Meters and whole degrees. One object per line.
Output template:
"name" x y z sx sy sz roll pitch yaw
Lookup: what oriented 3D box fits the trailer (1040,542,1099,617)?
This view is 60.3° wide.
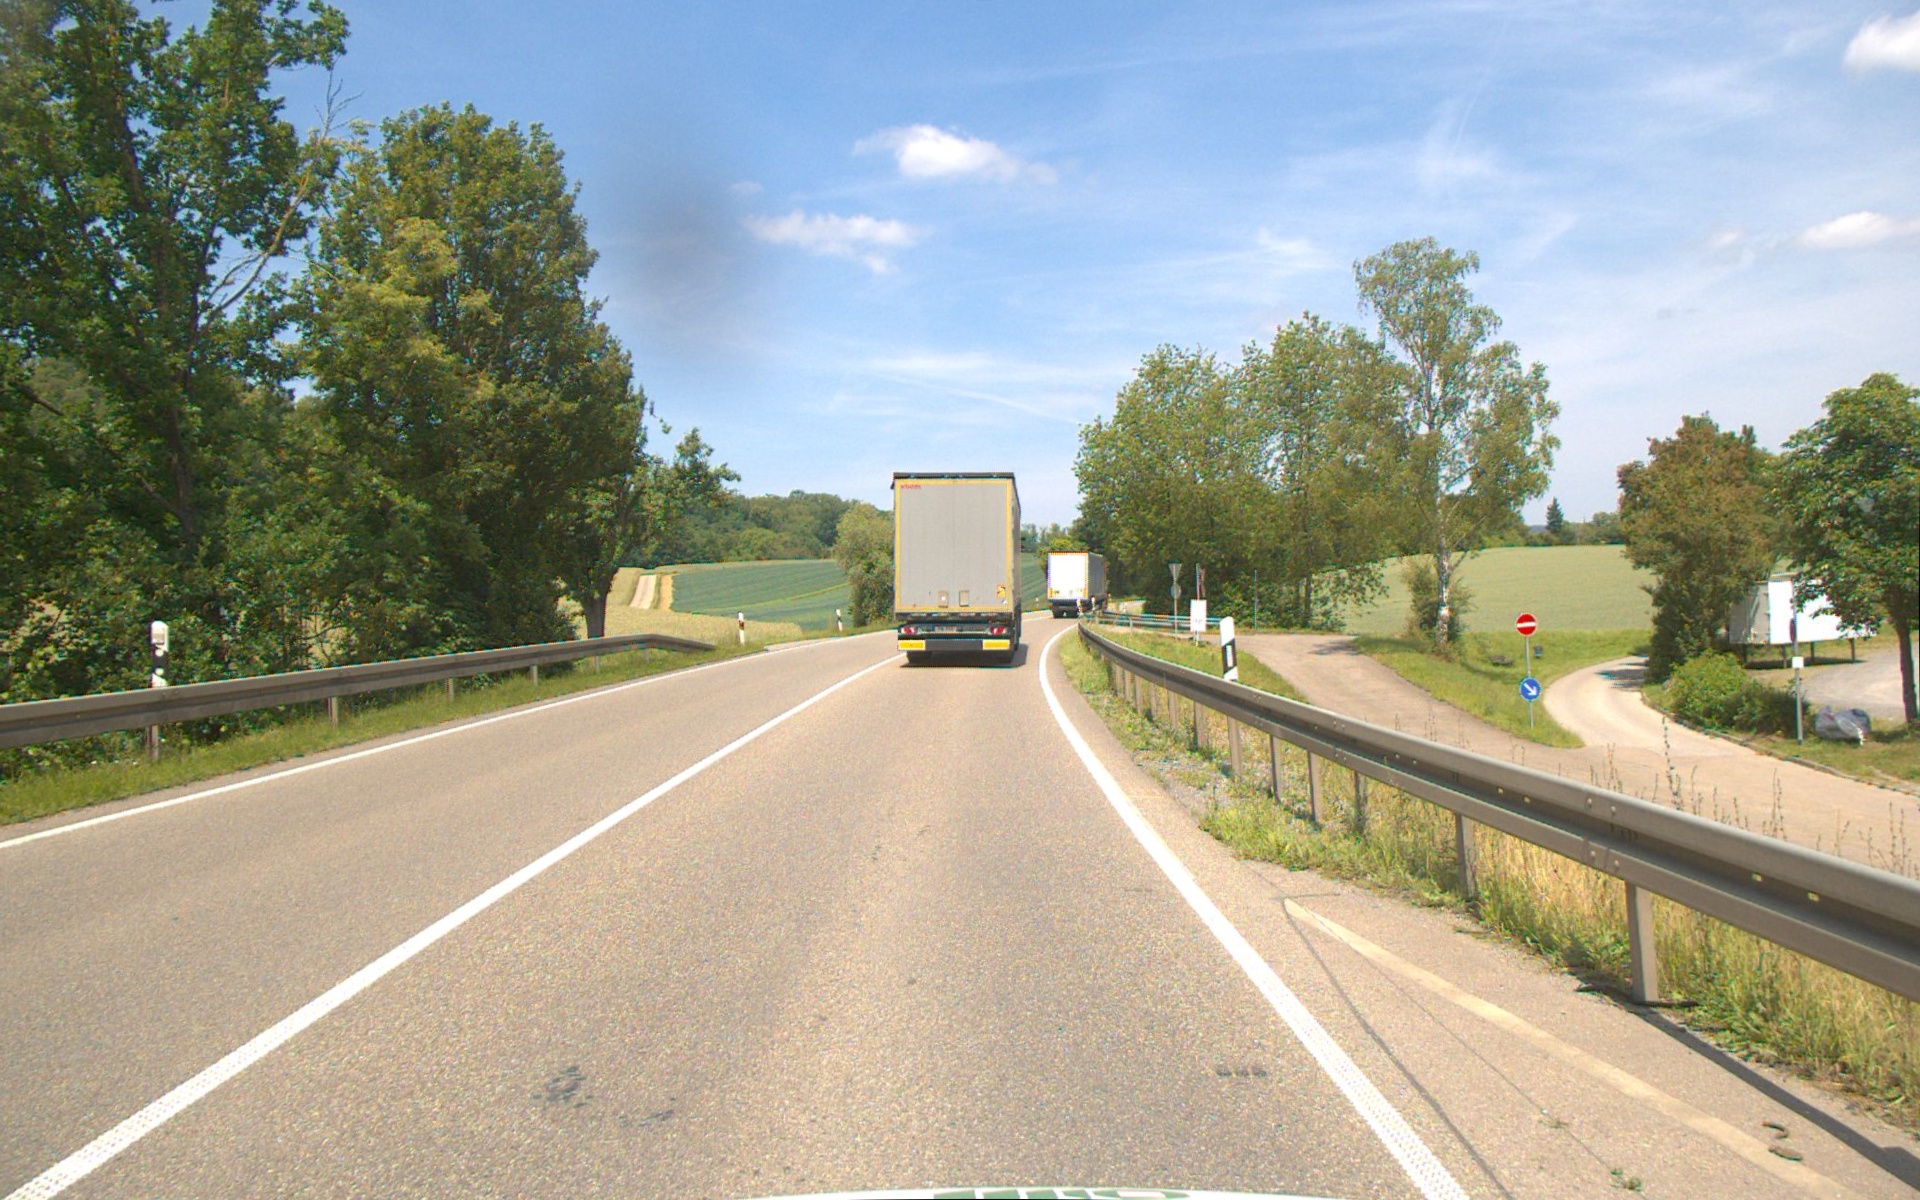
"trailer" 7.232 -1.187 107.586 3.294 4.393 13.872 -1 -1 6

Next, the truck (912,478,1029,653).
"truck" 0.389 -0.928 46.964 3.053 4.573 6.813 0 0 2

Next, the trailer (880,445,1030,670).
"trailer" 0.157 -0.903 40.838 3.053 4.578 13.890 0 0 2
